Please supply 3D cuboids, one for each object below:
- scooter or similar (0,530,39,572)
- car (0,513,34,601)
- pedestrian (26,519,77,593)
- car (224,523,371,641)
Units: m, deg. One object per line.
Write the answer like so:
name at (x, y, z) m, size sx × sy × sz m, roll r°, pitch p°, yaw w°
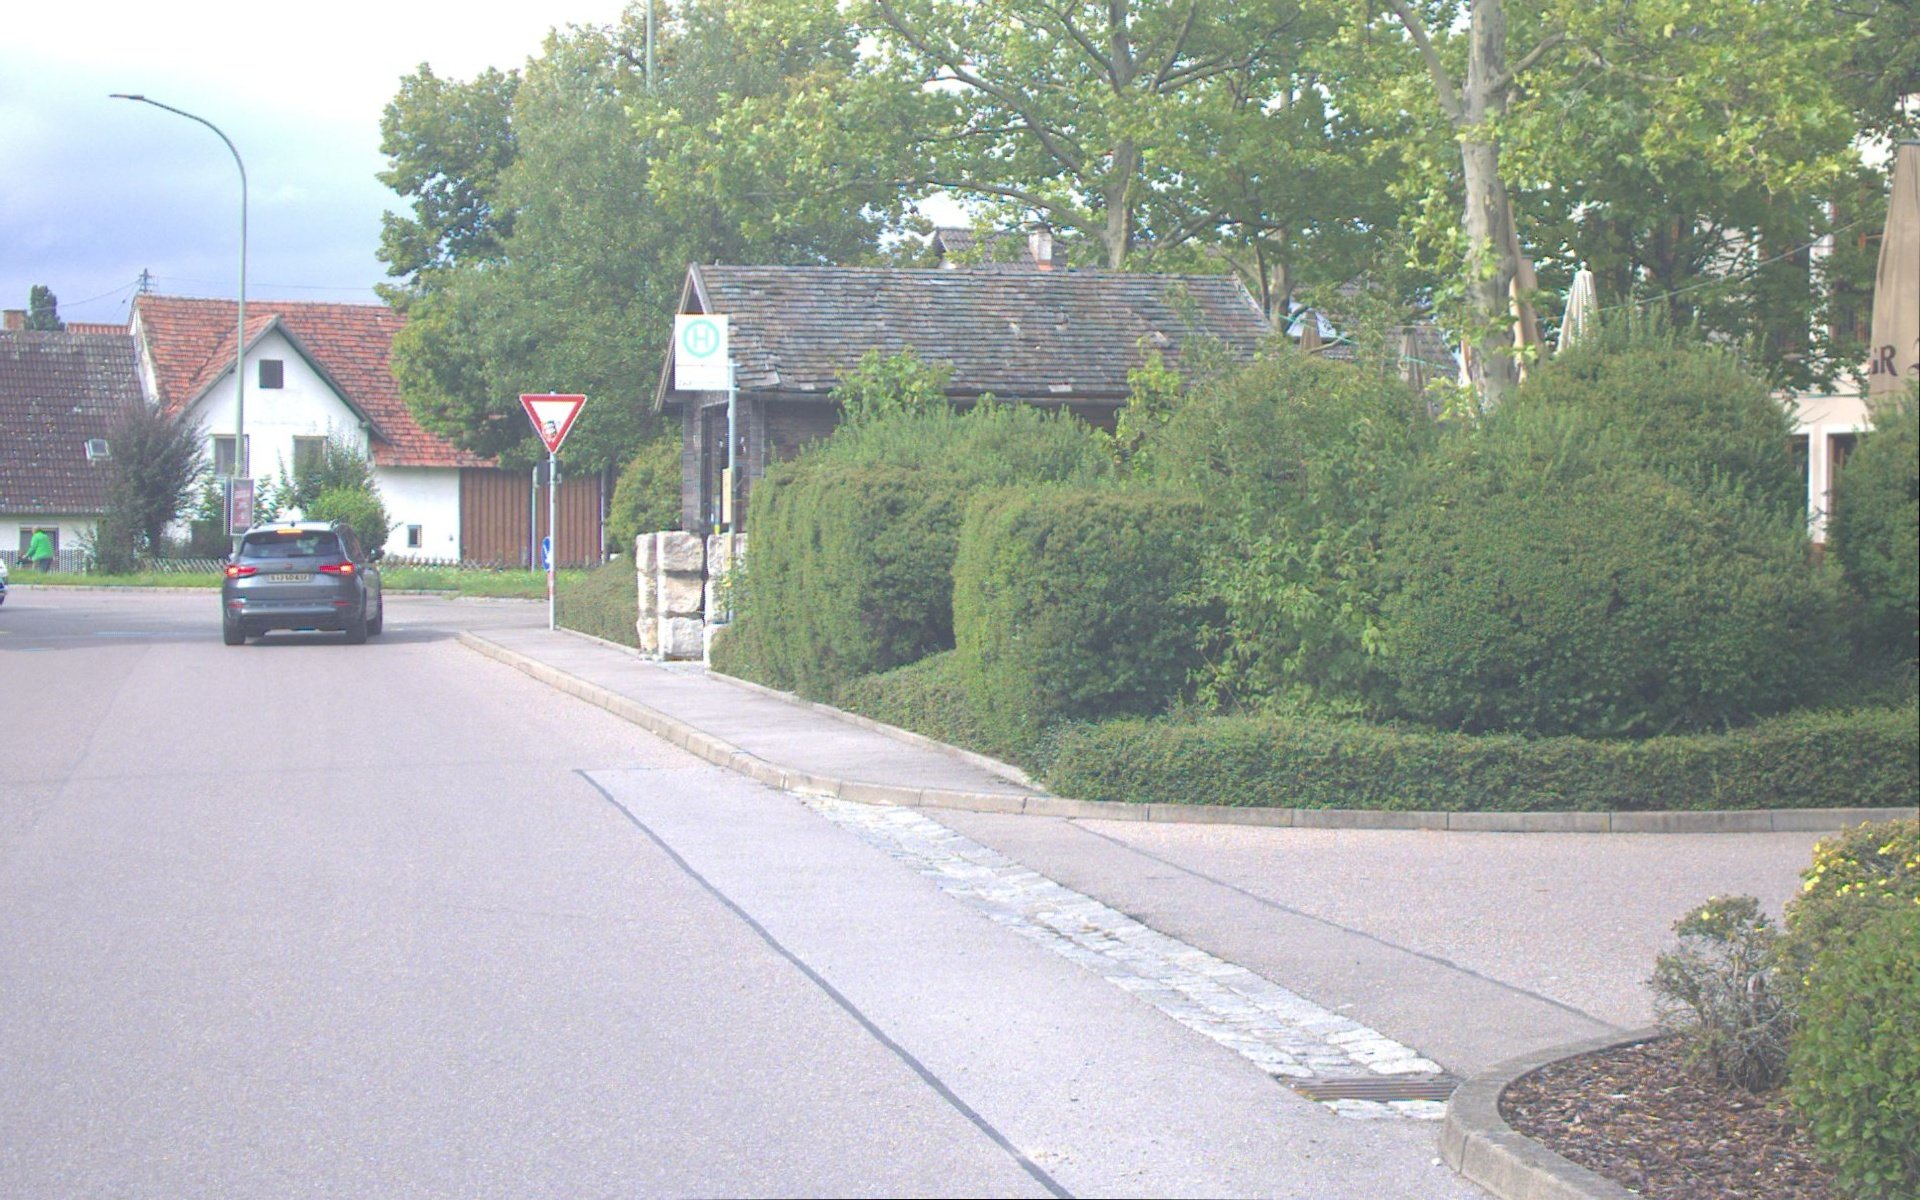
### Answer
scooter or similar at (-21.998, -1.144, 80.382) m, size 0.631 × 0.945 × 0.622 m, roll 5°, pitch -2°, yaw -44°
car at (-18.128, -0.774, 59.330) m, size 3.983 × 1.510 × 1.802 m, roll 1°, pitch 1°, yaw 28°
pedestrian at (-21.183, -1.034, 80.182) m, size 0.789 × 1.659 × 0.712 m, roll 5°, pitch -2°, yaw -44°
car at (-8.711, -0.270, 45.036) m, size 1.798 × 1.457 × 3.663 m, roll 0°, pitch 1°, yaw -12°
